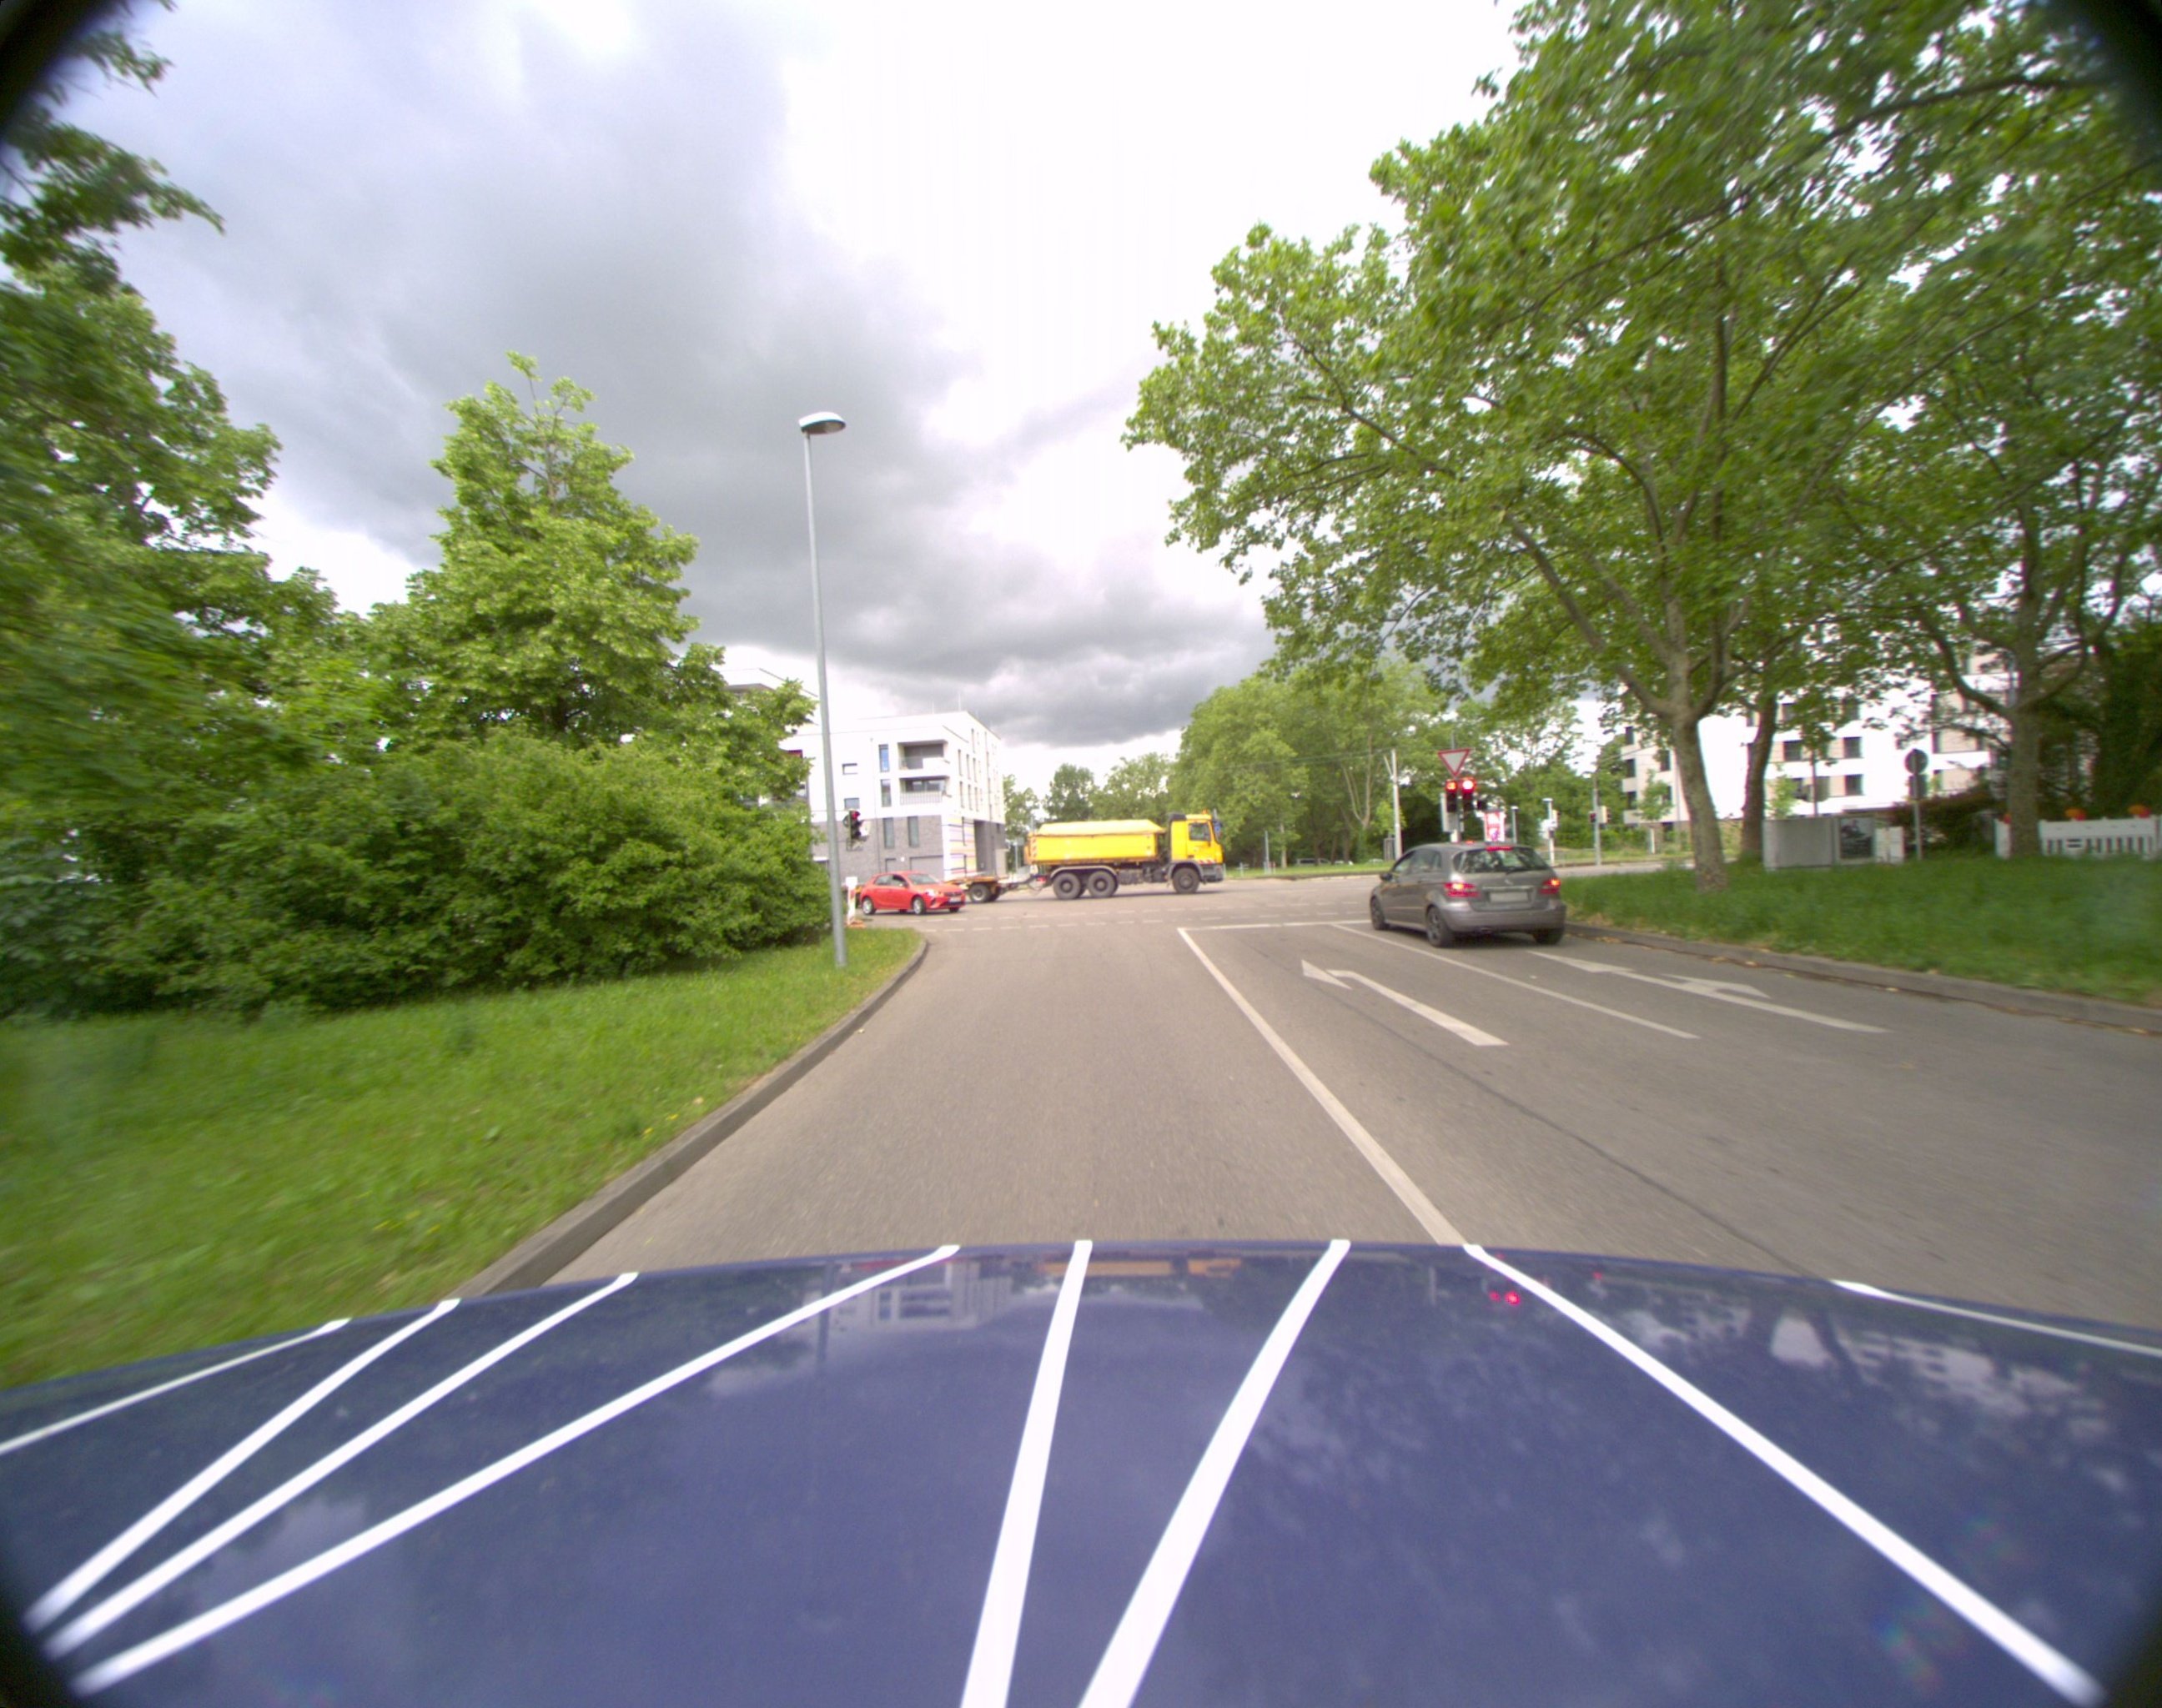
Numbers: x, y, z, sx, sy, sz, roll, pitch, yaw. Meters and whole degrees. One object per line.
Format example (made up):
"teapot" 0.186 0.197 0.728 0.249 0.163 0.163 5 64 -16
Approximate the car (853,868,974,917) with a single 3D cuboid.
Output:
"car" -5.713 1.286 25.781 3.989 1.470 1.697 -2 0 34

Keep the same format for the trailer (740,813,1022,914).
"trailer" -8.153 0.402 31.559 10.902 3.501 2.716 -3 0 5

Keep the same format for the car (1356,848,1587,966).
"car" 6.217 0.737 12.750 1.771 1.577 4.413 -2 0 3

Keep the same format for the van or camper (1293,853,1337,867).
"van or camper" 29.758 0.721 96.825 5.001 1.524 1.865 -3 0 4

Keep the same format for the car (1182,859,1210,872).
"car" 15.712 1.602 103.965 3.591 1.528 1.875 -3 -1 10

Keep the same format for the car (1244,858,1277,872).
"car" 22.928 1.360 97.131 3.782 1.652 1.665 -2 0 3

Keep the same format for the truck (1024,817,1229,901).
"truck" 1.841 0.209 30.644 7.770 2.986 2.730 -2 0 5

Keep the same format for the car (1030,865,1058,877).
"car" -5.178 2.392 106.600 3.539 1.490 1.647 -3 -1 4
